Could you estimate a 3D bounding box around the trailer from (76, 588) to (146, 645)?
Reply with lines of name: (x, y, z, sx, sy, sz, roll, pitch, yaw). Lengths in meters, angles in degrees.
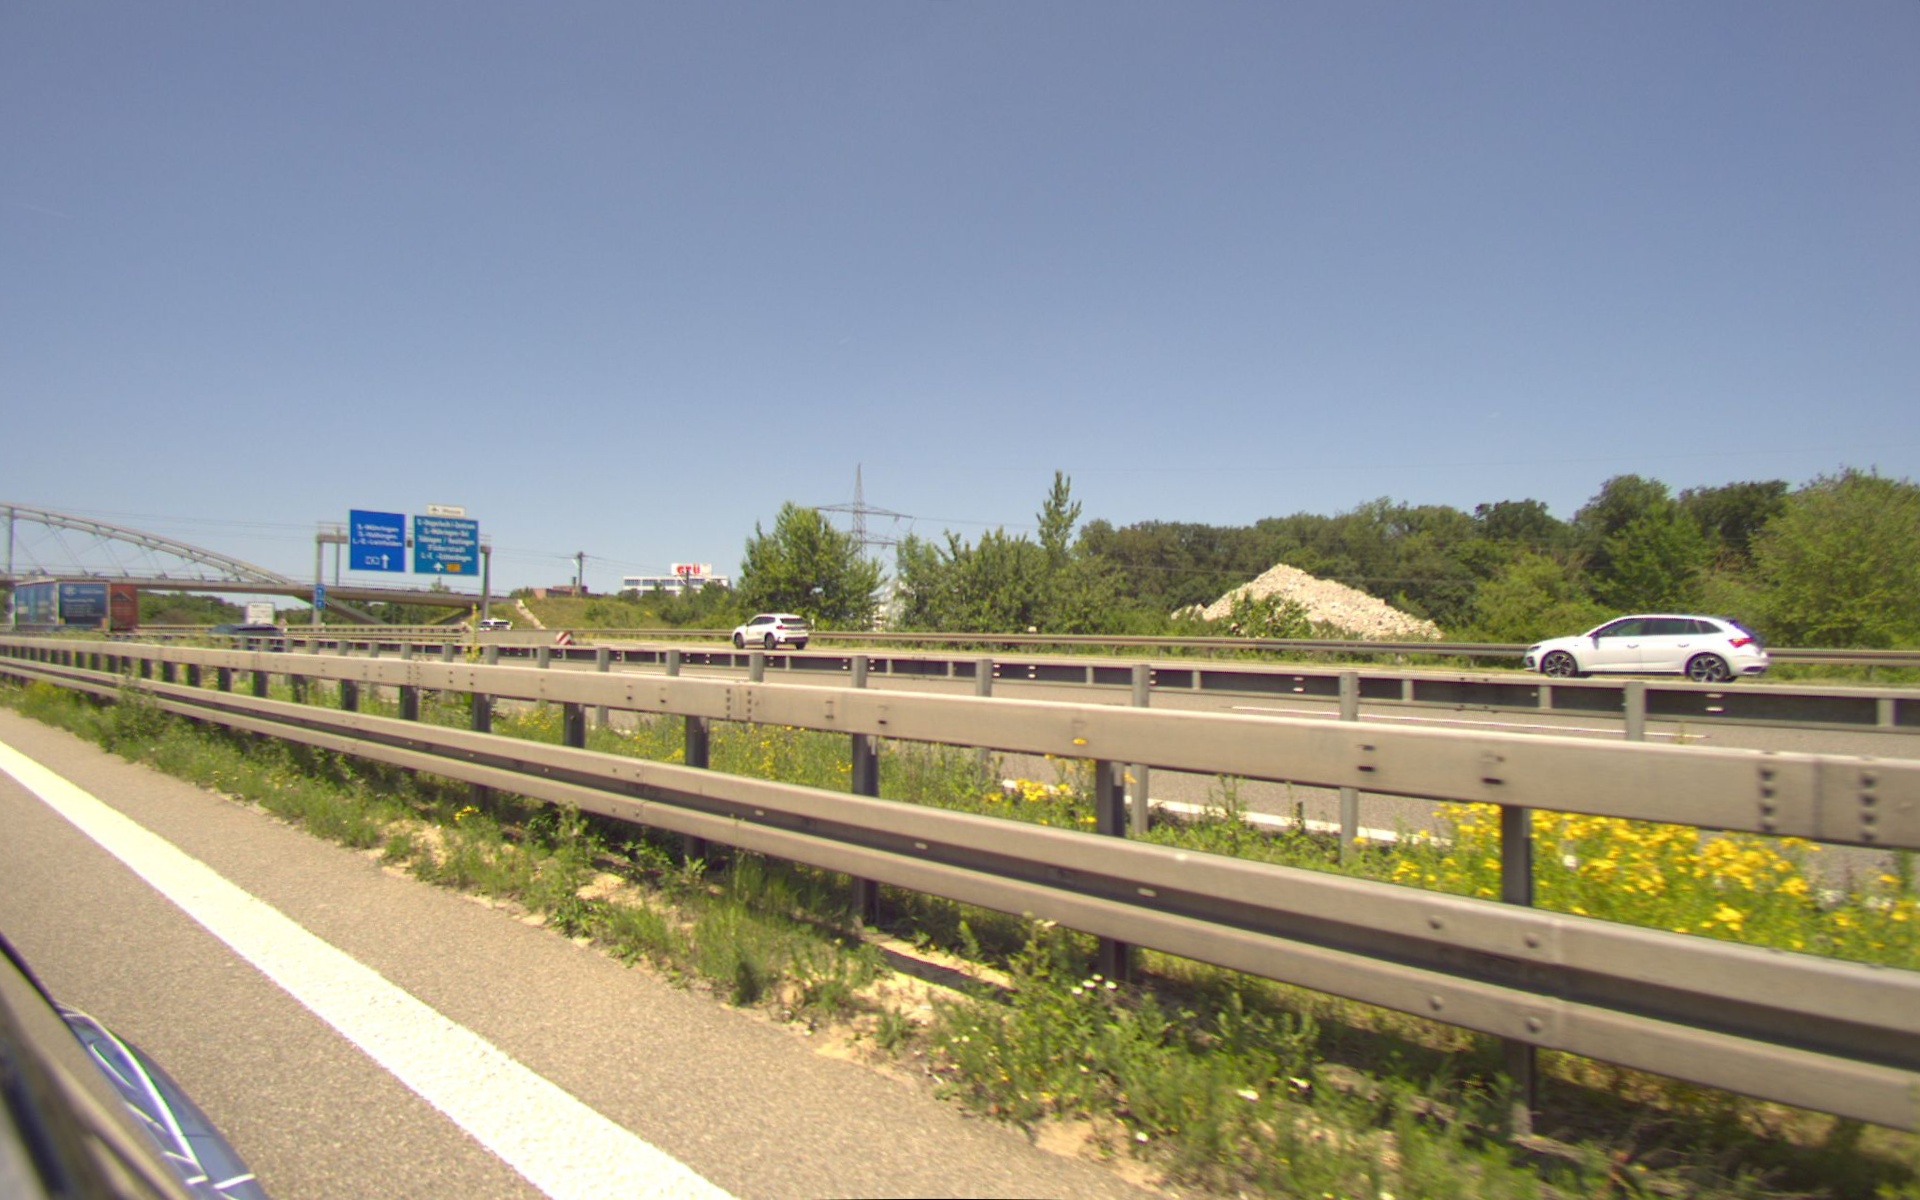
trailer: (-64.348, 1.234, 76.627, 8.707, 4.136, 2.534, -1, -1, 40)

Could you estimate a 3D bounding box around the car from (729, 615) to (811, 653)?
car: (-8.789, 1.550, 46.625, 1.657, 1.625, 4.408, 0, -1, -42)

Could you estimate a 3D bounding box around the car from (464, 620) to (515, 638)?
car: (-33.935, 2.104, 72.965, 4.400, 1.212, 1.660, -1, -1, 41)

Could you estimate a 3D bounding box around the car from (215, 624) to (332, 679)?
car: (-19.996, 1.444, 29.395, 4.702, 1.475, 1.660, -1, -1, 41)

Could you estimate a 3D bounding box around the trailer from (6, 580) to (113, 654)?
trailer: (-59.002, 1.109, 66.109, 14.604, 4.375, 2.916, -1, -1, 39)

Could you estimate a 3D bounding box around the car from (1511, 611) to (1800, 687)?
car: (14.439, 0.975, 21.267, 1.500, 1.412, 4.801, 0, -1, -44)

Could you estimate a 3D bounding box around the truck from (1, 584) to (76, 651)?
truck: (-63.847, 1.205, 70.060, 6.908, 4.377, 2.899, -1, -1, 39)
